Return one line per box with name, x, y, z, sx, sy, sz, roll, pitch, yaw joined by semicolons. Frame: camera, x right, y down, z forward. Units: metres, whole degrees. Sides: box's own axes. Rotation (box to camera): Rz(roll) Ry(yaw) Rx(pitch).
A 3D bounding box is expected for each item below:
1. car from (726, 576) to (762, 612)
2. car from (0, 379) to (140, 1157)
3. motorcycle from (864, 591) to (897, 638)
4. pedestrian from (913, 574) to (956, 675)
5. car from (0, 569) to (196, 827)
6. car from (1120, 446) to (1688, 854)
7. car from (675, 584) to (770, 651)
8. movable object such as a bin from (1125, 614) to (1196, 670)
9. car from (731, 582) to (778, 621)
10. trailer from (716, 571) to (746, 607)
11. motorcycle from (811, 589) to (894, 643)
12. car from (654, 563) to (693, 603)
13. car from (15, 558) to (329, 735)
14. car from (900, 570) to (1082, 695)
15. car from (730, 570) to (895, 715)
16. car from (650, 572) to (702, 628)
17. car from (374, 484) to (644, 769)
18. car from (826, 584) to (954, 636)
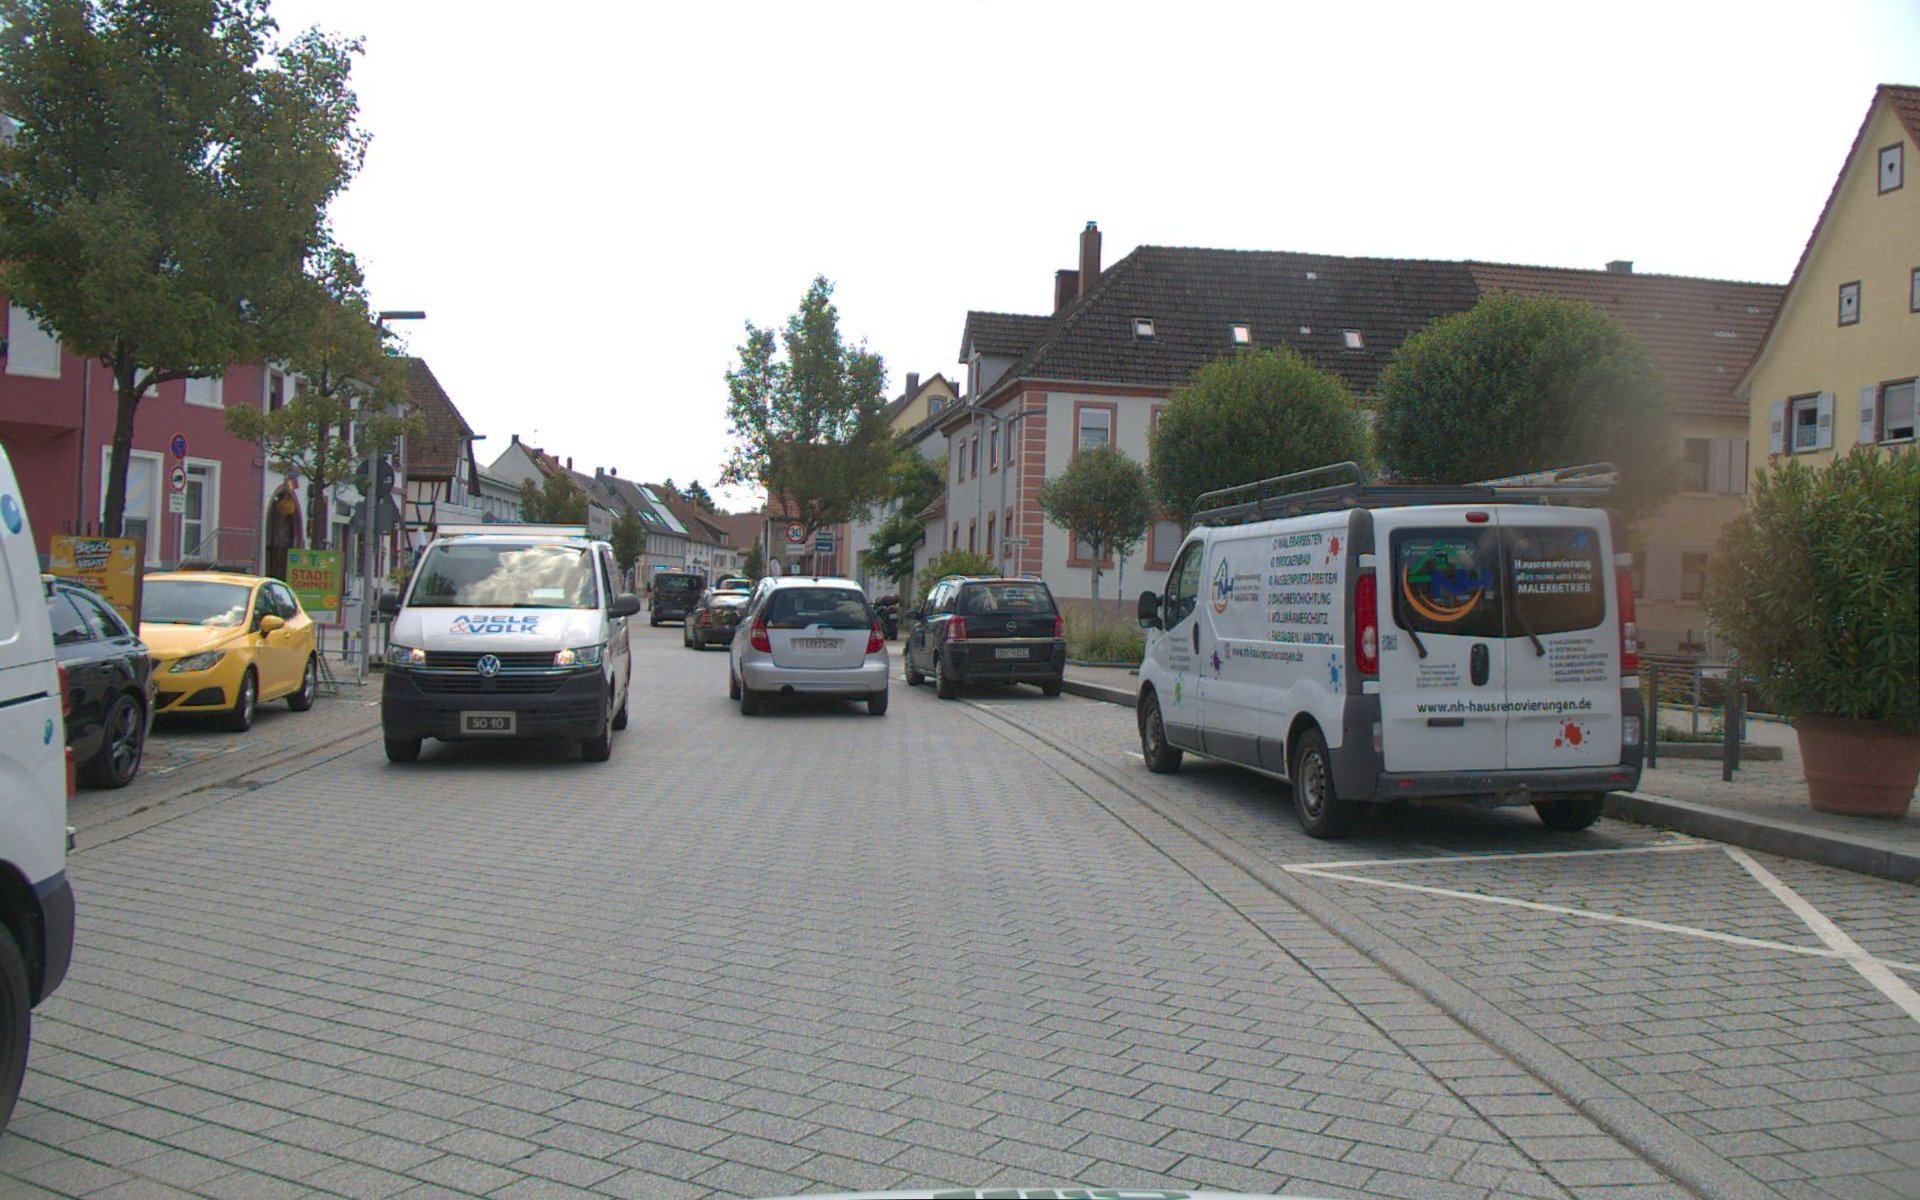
car;-12.894;-0.367;98.510;1.858;2.017;4.919;-1;0;-10
car;-3.207;0.405;2.262;1.954;1.913;4.863;2;0;-4
motorcycle;-2.313;0.408;48.070;0.940;1.321;2.224;0;0;-3
pedestrian;-0.430;0.400;27.654;0.627;1.657;0.619;1;0;-8
car;-6.369;0.533;9.913;1.780;1.448;4.532;2;0;-5
car;2.735;0.242;11.662;1.907;2.215;5.089;0;0;-10
car;-5.637;0.374;38.953;1.911;1.432;3.988;2;0;-12
movable object such as a bin;3.370;0.703;27.908;0.722;0.881;1.431;2;0;-13
car;-9.669;0.048;77.594;1.957;1.710;4.312;1;0;-10
trailer;-15.650;-0.753;112.761;1.812;2.395;3.580;1;0;-11
motorcycle;-2.991;0.427;45.849;2.179;1.419;0.870;1;0;33
car;-16.957;-0.969;98.087;2.195;2.261;3.991;1;-1;-10
car;-7.531;0.387;16.228;1.637;1.500;3.955;1;0;-8
car;0.329;0.414;23.583;1.737;1.592;4.407;1;0;-10
car;-1.935;0.464;20.713;1.736;1.622;3.991;1;1;-10
car;-10.637;0.003;62.041;1.736;1.920;4.437;4;-1;-9
car;-4.049;0.205;15.635;1.853;2.224;5.020;1;0;-9
car;-2.234;0.296;52.384;3.783;1.605;1.844;0;0;-14
